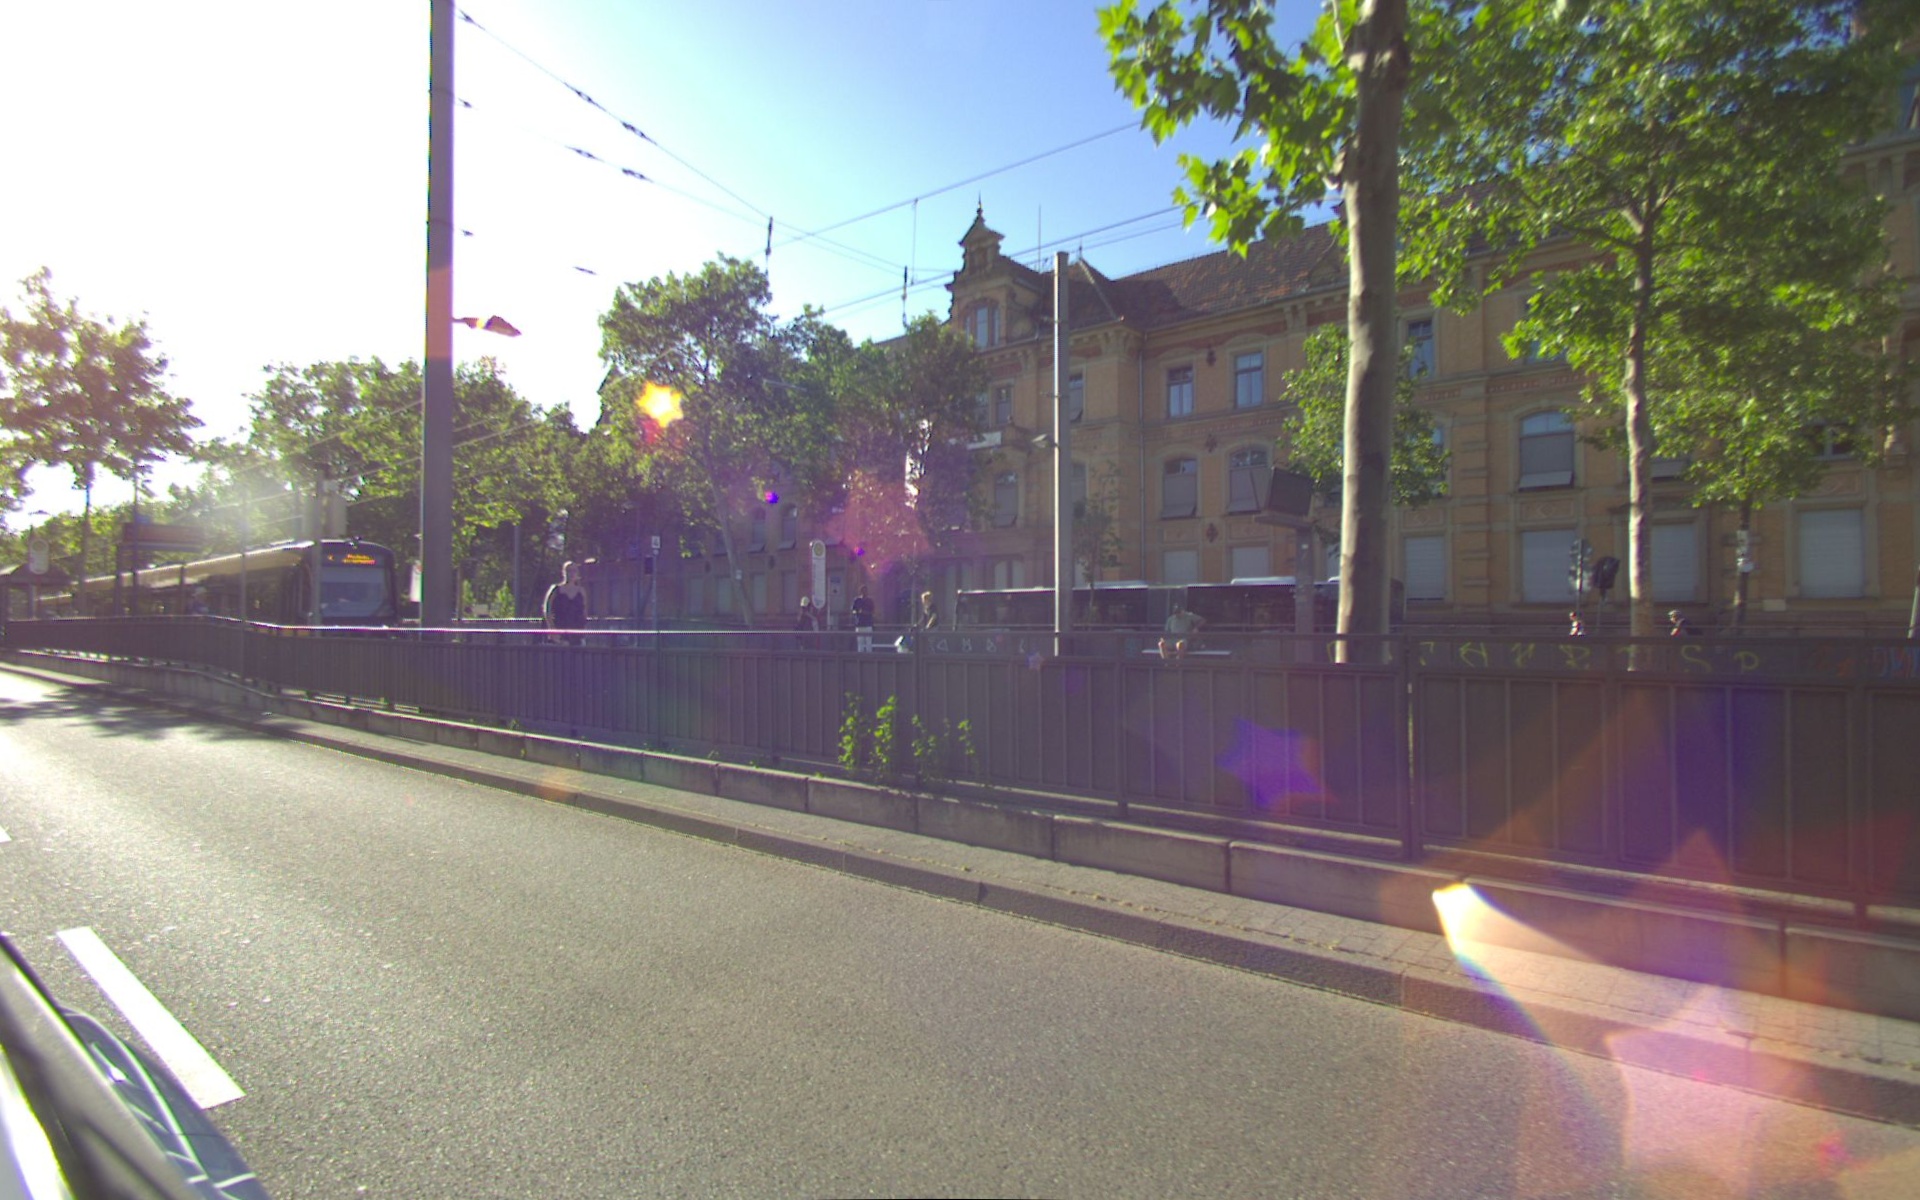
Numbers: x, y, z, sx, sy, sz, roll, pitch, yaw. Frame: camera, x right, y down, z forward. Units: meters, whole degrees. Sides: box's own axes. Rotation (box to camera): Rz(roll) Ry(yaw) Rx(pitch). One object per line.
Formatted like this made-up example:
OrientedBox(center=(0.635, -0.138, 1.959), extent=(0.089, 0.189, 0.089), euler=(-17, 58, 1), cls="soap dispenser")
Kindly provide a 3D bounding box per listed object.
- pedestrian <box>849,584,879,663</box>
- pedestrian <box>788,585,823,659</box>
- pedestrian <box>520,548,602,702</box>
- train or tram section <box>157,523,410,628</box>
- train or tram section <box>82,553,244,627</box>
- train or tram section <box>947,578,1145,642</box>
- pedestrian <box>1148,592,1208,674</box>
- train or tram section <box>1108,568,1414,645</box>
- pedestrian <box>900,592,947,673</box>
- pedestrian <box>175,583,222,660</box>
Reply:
OrientedBox(center=(-2.255, 0.550, 23.739), extent=(0.617, 1.815, 0.624), euler=(1, -3, 0), cls="pedestrian")
OrientedBox(center=(-3.806, 0.549, 24.975), extent=(0.620, 1.815, 0.621), euler=(0, -3, 15), cls="pedestrian")
OrientedBox(center=(-4.634, 0.287, 11.759), extent=(0.623, 1.723, 0.674), euler=(-1, -1, 40), cls="pedestrian")
OrientedBox(center=(-21.271, -0.463, 31.031), extent=(15.668, 2.584, 2.536), euler=(-1, -1, 41), cls="train or tram section")
OrientedBox(center=(-32.794, -0.223, 41.209), extent=(15.066, 2.551, 2.536), euler=(-1, -1, 41), cls="train or tram section")
OrientedBox(center=(3.332, 0.442, 41.207), extent=(8.074, 2.345, 2.616), euler=(-1, -1, 42), cls="train or tram section")
OrientedBox(center=(4.071, 0.616, 18.858), extent=(0.878, 1.472, 0.719), euler=(-1, -3, 37), cls="pedestrian")
OrientedBox(center=(10.114, 0.290, 35.184), extent=(10.053, 2.345, 2.616), euler=(-1, -1, 42), cls="train or tram section")
OrientedBox(center=(-0.822, 0.725, 22.721), extent=(0.812, 1.770, 0.668), euler=(-1, -1, 38), cls="pedestrian")
OrientedBox(center=(-16.730, 0.464, 22.237), extent=(0.761, 1.648, 0.691), euler=(-1, -1, 41), cls="pedestrian")
